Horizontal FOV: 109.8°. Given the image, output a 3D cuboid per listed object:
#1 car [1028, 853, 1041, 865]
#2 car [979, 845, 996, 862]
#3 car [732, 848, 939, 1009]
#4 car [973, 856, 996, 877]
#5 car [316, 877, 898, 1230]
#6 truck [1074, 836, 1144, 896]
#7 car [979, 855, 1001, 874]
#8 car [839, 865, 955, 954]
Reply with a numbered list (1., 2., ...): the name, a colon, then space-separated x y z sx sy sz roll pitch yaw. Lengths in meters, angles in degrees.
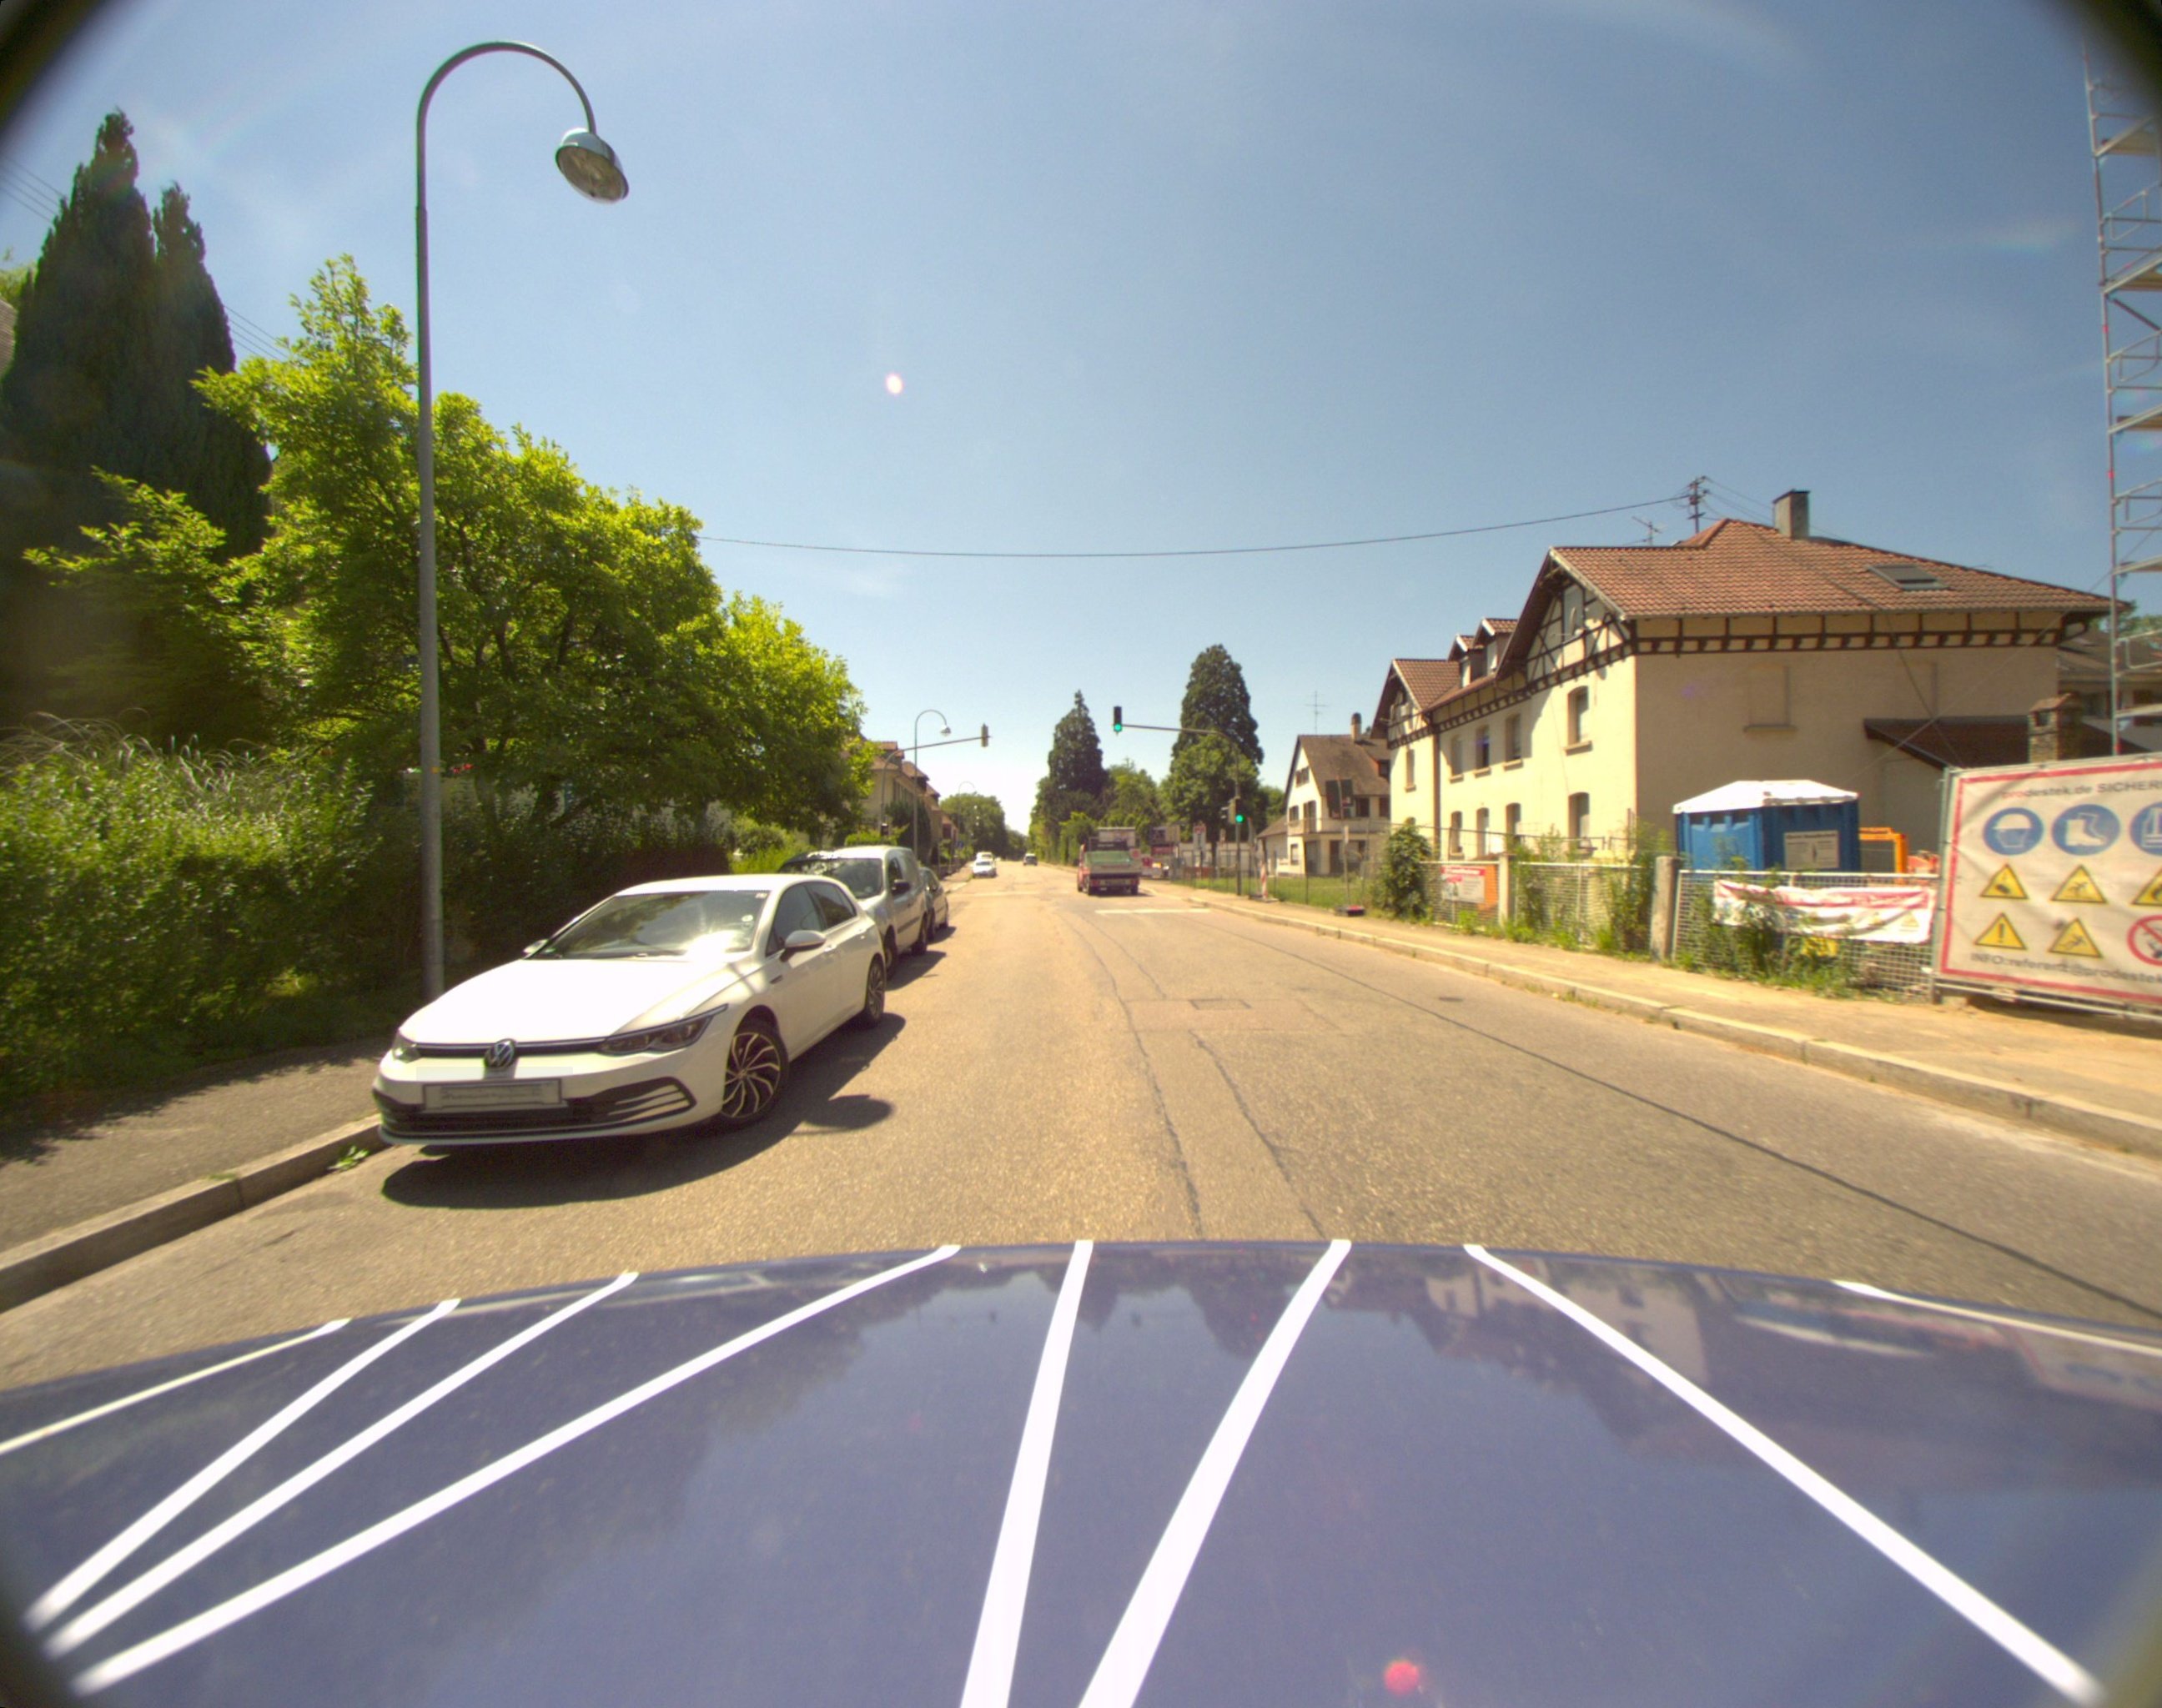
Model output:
1. car: -6.406 0.689 104.750 1.657 1.553 3.883 1 0 -5
2. car: -10.833 -0.051 88.144 1.853 1.858 4.688 -2 0 -7
3. car: -3.283 0.863 11.066 1.666 1.793 4.201 -4 1 -2
4. car: -7.570 0.931 59.507 1.672 1.457 3.997 -2 1 -8
5. car: -2.748 1.012 5.680 1.666 1.427 4.128 -4 1 0
6. truck: 1.064 0.470 32.813 2.134 2.325 6.431 0 0 -6
7. car: -7.767 0.895 64.720 1.671 1.427 3.997 -3 1 -7
8. car: -3.698 1.050 15.939 1.633 1.454 4.014 -4 1 -4
